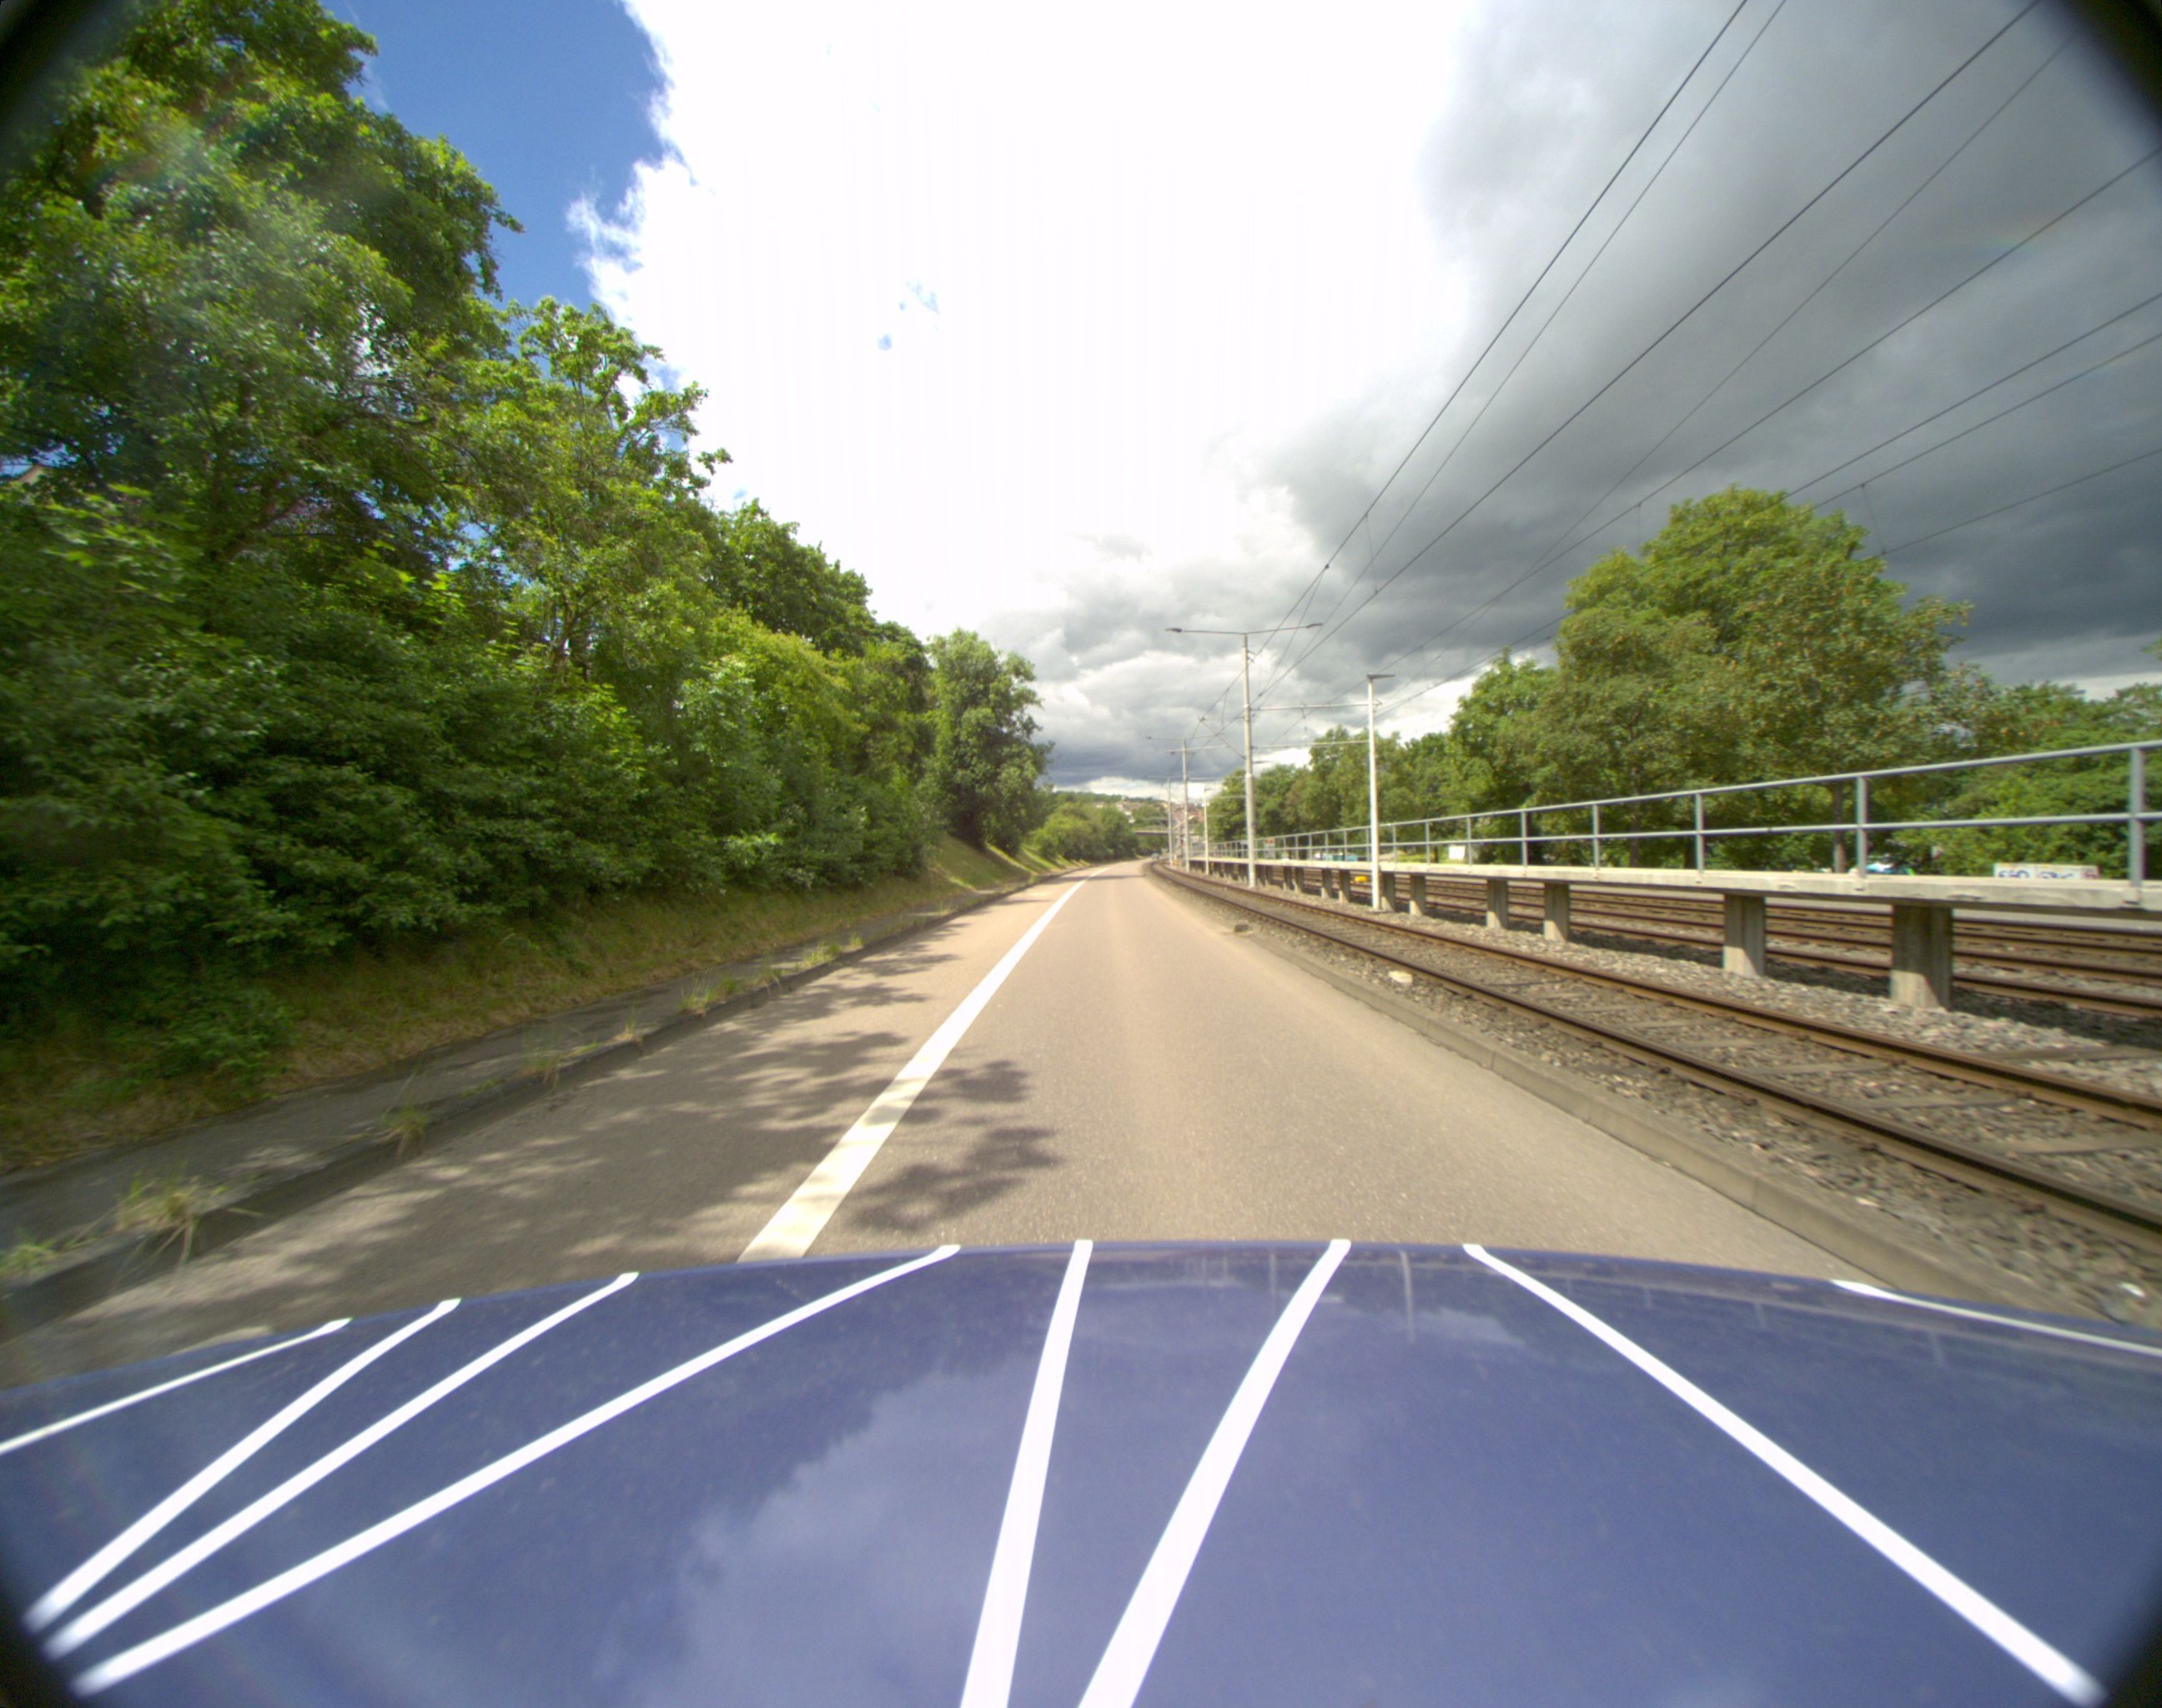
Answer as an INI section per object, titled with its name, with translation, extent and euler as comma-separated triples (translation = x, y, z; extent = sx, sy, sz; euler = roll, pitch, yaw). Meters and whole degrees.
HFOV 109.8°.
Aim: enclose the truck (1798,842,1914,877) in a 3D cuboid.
[truck]
translation = 64.856, 0.453, 63.736
extent = 6.616, 2.839, 2.680
euler = 0, 1, 5
